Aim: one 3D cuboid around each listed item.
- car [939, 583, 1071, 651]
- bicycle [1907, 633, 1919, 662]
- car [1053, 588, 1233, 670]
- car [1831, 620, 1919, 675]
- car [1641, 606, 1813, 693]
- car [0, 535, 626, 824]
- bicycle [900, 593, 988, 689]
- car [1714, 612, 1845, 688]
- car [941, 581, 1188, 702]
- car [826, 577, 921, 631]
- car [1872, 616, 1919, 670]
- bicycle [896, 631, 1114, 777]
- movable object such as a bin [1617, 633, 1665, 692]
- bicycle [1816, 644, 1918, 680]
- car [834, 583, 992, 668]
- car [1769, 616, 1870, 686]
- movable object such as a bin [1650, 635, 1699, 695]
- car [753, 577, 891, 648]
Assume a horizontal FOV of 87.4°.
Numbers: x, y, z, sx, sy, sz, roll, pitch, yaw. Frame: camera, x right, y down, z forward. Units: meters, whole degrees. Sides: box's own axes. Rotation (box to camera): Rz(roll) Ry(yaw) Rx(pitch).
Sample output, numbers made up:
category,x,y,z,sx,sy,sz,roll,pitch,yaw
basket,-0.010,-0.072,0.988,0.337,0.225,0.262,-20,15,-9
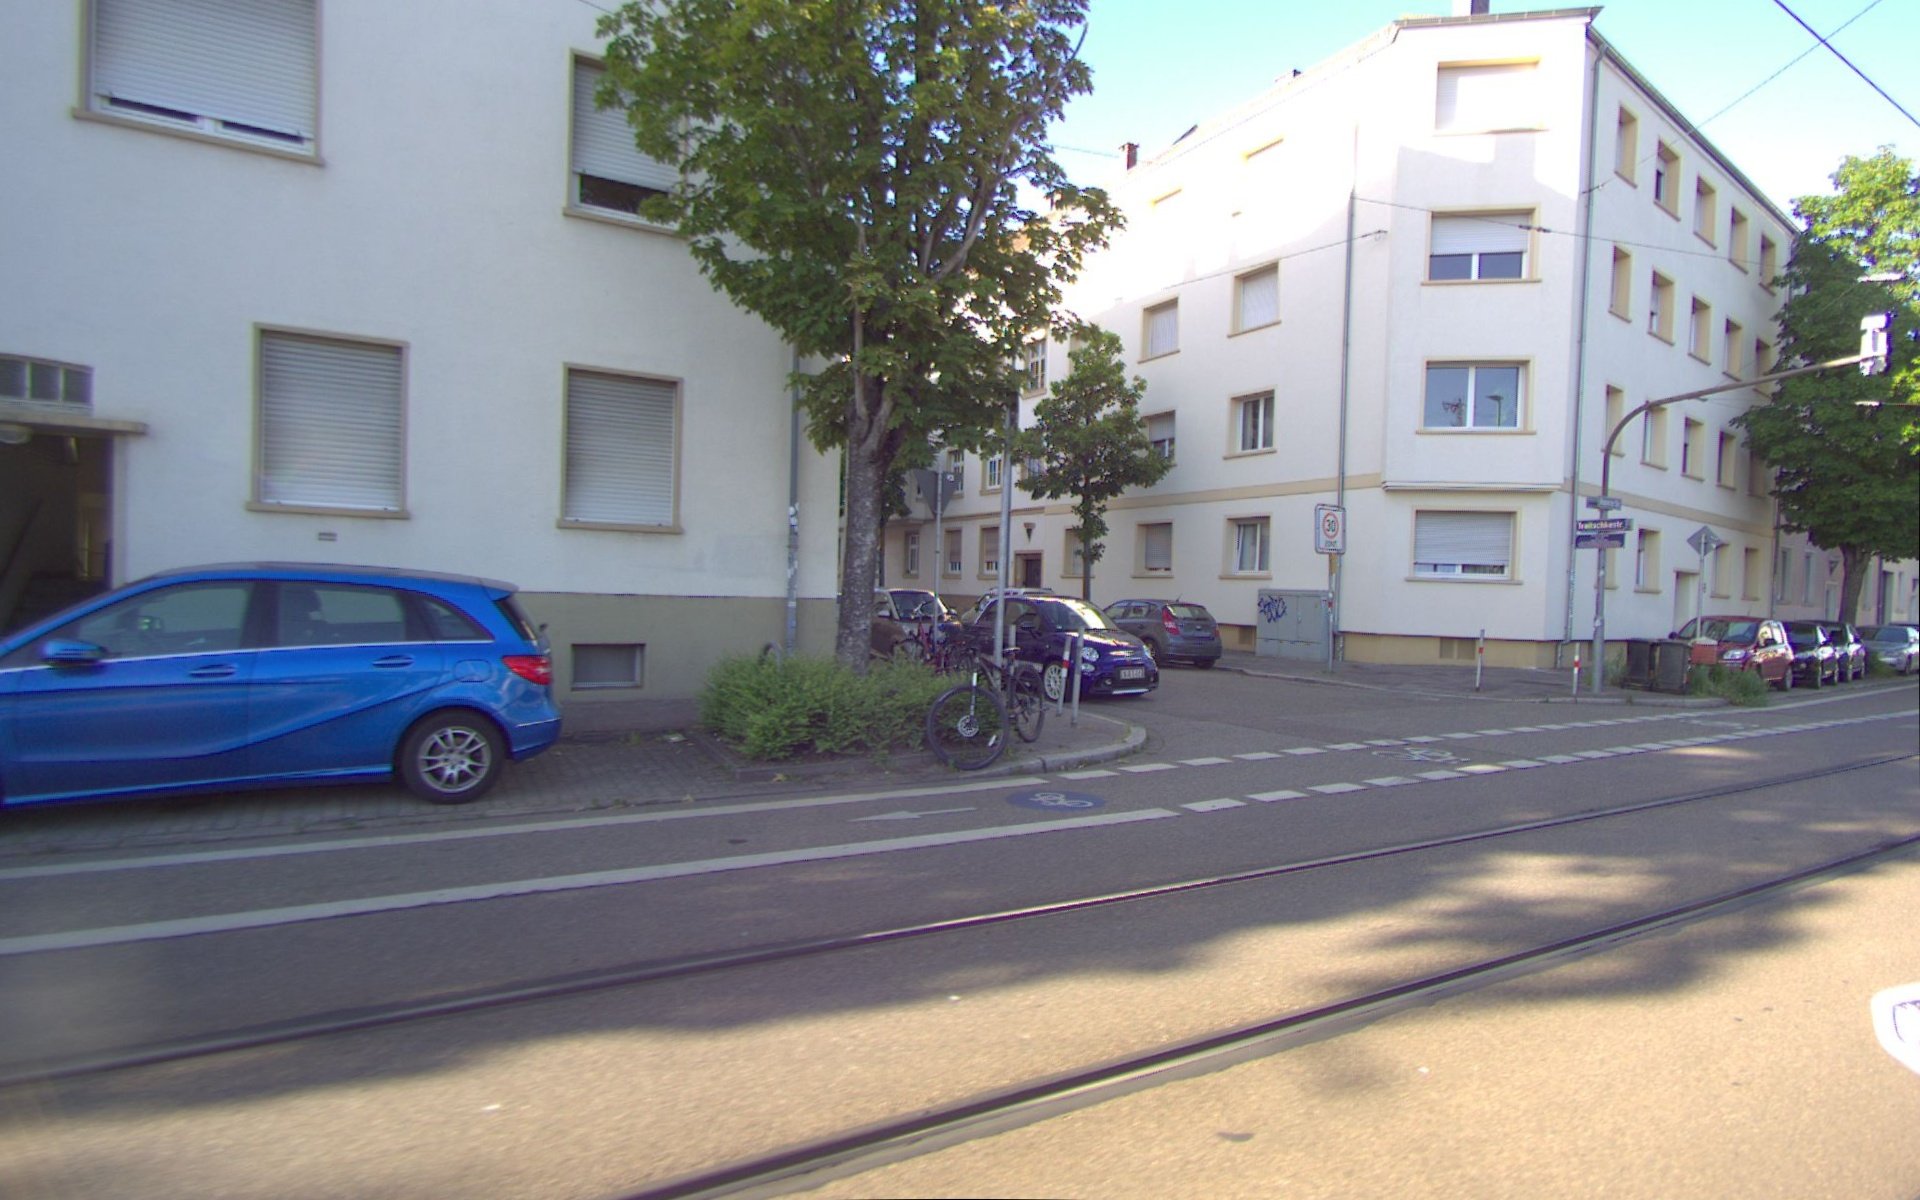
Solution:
category,x,y,z,sx,sy,sz,roll,pitch,yaw
car,1.192,0.438,28.725,1.885,1.675,3.967,2,2,-30
bicycle,36.435,1.836,37.175,0.472,1.060,1.910,1,2,-37
car,4.077,0.602,22.970,1.885,1.550,3.967,2,2,-30
car,28.886,1.448,31.317,4.618,1.495,1.676,2,2,-38
car,16.090,1.004,21.014,3.960,1.550,1.677,2,3,-35
car,-4.814,0.438,6.780,4.586,1.581,1.782,2,2,-29
bicycle,-0.252,0.564,14.416,0.394,1.245,1.490,5,0,-36
car,19.588,1.146,23.960,3.828,1.550,1.770,2,2,-41
car,1.456,0.549,15.436,1.749,1.477,3.864,2,2,-32
car,-3.190,0.112,36.450,1.885,1.675,3.967,2,2,-30
car,33.142,1.487,34.967,4.265,1.690,1.636,1,2,-43
bicycle,0.437,0.874,8.912,2.011,1.149,0.508,2,2,-36
movable object such as a bin,12.295,1.116,18.143,0.653,1.001,0.481,1,2,-36
bicycle,26.252,1.785,29.098,0.473,0.836,2.110,1,2,-38
car,-1.008,0.446,19.592,1.561,1.477,3.488,2,0,-32
car,22.814,1.305,26.613,3.705,1.635,1.575,1,2,-43
movable object such as a bin,12.593,1.142,17.705,0.653,1.001,0.481,1,2,-36
car,-3.298,0.239,23.344,1.691,1.477,4.146,2,0,-31
